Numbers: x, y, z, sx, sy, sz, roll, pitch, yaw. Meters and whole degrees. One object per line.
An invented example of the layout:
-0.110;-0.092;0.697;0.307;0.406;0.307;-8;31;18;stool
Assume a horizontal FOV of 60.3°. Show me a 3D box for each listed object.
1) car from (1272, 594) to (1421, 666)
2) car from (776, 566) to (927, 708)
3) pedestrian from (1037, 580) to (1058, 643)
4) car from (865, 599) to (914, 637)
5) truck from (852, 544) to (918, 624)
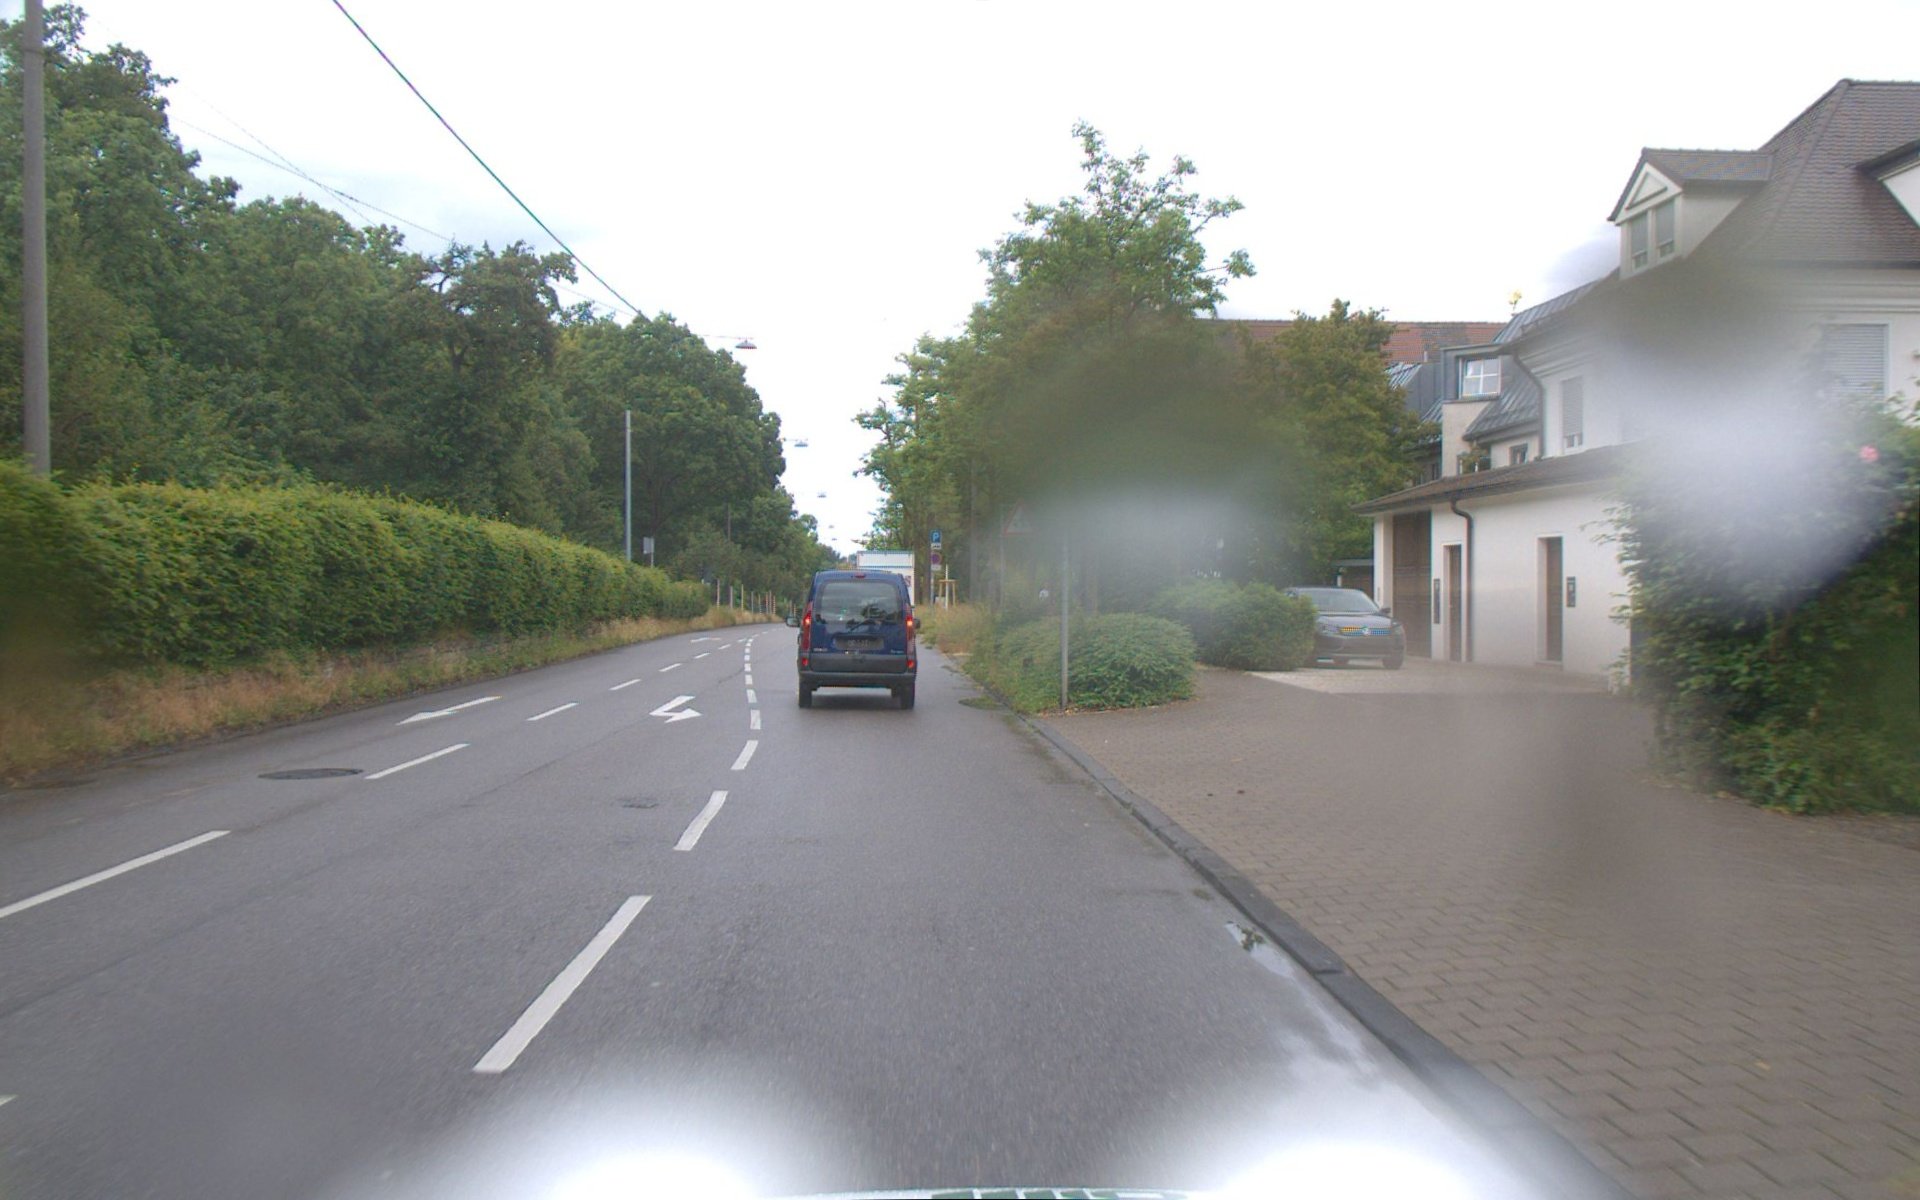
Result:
7.002;0.504;30.340;1.794;1.197;4.000;1;0;0;car
-1.630;0.471;23.572;1.775;1.829;3.991;0;0;-9;car
2.426;0.304;45.841;0.549;1.738;0.516;0;0;5;pedestrian
-2.794;0.675;64.550;1.777;1.404;4.281;-1;0;-4;car
-3.472;-0.703;75.196;2.678;3.446;6.678;-1;0;-5;truck
